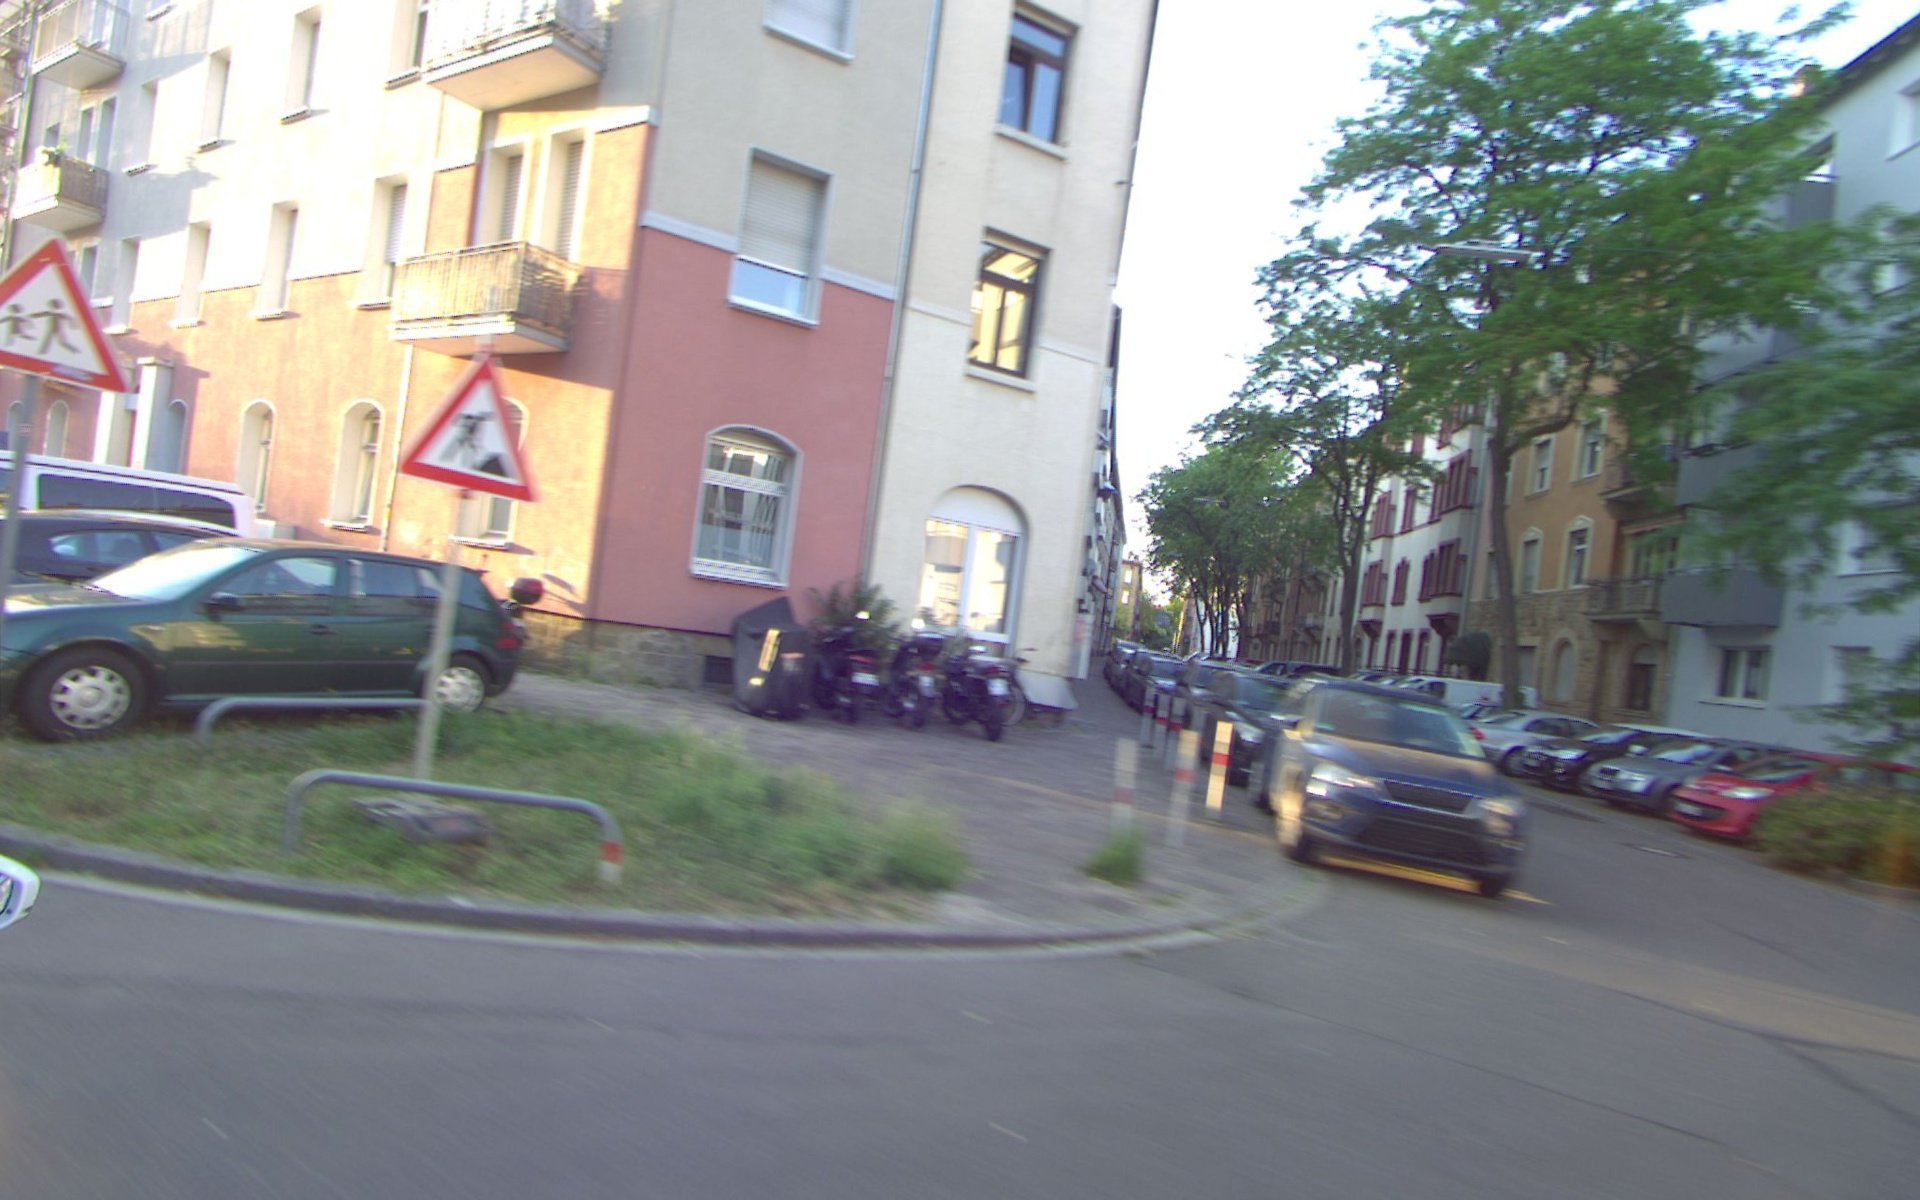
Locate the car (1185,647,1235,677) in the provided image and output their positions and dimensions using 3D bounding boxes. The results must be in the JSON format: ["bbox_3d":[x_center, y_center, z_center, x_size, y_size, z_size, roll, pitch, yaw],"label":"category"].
[{"bbox_3d":[21.959,5.478,88.425,3.924,2.036,2.004,8,-2,9],"label":"car"}]

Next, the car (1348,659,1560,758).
[{"bbox_3d":[14.301,3.111,29.362,4.897,2.037,2.191,8,-1,2],"label":"car"}]

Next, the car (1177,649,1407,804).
[{"bbox_3d":[4.387,1.607,14.022,1.933,1.523,4.003,8,-1,4],"label":"car"}]

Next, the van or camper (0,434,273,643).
[{"bbox_3d":[-11.196,-0.815,11.609,2.007,2.121,4.842,7,-1,32],"label":"van or camper"}]

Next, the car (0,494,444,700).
[{"bbox_3d":[-7.368,0.008,9.393,1.966,1.548,3.995,7,-1,31],"label":"car"}]

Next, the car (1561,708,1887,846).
[{"bbox_3d":[13.091,2.991,17.480,3.924,1.548,2.001,8,-1,5],"label":"car"}]

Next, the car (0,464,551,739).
[{"bbox_3d":[-5.584,0.068,7.798,1.823,1.604,4.111,7,-1,29],"label":"car"}]

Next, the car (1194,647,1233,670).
[{"bbox_3d":[28.570,6.572,113.486,3.924,2.037,2.002,8,-1,9],"label":"car"}]

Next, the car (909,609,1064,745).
[{"bbox_3d":[0.273,0.960,13.548,0.835,1.474,2.762,7,-1,-24],"label":"car"}]

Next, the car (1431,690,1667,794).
[{"bbox_3d":[13.011,3.116,22.467,3.924,1.548,2.002,8,-1,6],"label":"car"}]

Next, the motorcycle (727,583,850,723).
[{"bbox_3d":[-2.172,0.589,12.399,0.828,1.451,2.340,8,-1,-23],"label":"motorcycle"}]

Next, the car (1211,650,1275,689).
[{"bbox_3d":[19.321,4.782,68.891,3.924,2.036,2.004,8,-2,14],"label":"car"}]

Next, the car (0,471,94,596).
[{"bbox_3d":[-15.545,-1.191,14.600,1.967,1.748,3.994,6,-2,31],"label":"car"}]

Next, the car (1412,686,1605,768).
[{"bbox_3d":[14.405,3.312,26.649,3.924,1.414,2.002,8,-1,10],"label":"car"}]

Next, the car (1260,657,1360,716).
[{"bbox_3d":[15.986,3.969,46.165,3.924,2.036,2.004,8,-2,14],"label":"car"}]

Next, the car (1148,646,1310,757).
[{"bbox_3d":[4.867,1.783,18.799,1.936,1.523,4.002,8,-1,3],"label":"car"}]

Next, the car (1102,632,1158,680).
[{"bbox_3d":[7.521,2.468,44.911,1.962,1.804,4.003,7,-1,5],"label":"car"}]

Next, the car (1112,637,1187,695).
[{"bbox_3d":[6.398,2.200,34.359,1.962,1.603,4.004,7,-1,5],"label":"car"}]

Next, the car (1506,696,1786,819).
[{"bbox_3d":[13.274,3.022,19.711,3.924,1.604,2.001,8,-1,5],"label":"car"}]

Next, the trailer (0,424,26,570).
[{"bbox_3d":[-17.262,-1.862,15.598,1.908,2.367,3.571,7,1,30],"label":"trailer"}]

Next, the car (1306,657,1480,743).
[{"bbox_3d":[14.763,3.382,34.551,4.884,2.166,2.001,8,-1,4],"label":"car"}]

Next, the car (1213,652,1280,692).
[{"bbox_3d":[18.774,4.742,66.000,3.924,2.036,2.004,8,-2,14],"label":"car"}]

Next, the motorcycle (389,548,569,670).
[{"bbox_3d":[-6.263,0.089,13.016,2.610,1.250,0.743,7,0,33],"label":"motorcycle"}]

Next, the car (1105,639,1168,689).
[{"bbox_3d":[6.906,2.480,39.680,1.962,1.603,4.004,7,-1,5],"label":"car"}]

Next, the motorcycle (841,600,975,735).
[{"bbox_3d":[-0.750,0.818,13.198,0.735,1.451,2.639,7,-1,-23],"label":"motorcycle"}]

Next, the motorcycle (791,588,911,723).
[{"bbox_3d":[-1.443,0.647,12.803,0.735,1.451,2.340,7,-1,-22],"label":"motorcycle"}]

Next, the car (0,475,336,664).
[{"bbox_3d":[-9.210,-0.347,10.509,1.966,1.637,3.994,7,-1,31],"label":"car"}]

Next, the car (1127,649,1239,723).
[{"bbox_3d":[5.356,2.039,24.720,2.055,1.370,4.004,7,-1,5],"label":"car"}]

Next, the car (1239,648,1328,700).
[{"bbox_3d":[16.338,3.751,50.949,3.924,2.036,2.004,8,-2,14],"label":"car"}]

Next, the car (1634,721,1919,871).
[{"bbox_3d":[12.696,2.910,14.877,3.924,1.534,2.001,8,-1,5],"label":"car"}]

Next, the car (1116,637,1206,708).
[{"bbox_3d":[5.746,2.042,29.182,1.962,1.670,4.003,7,-1,5],"label":"car"}]

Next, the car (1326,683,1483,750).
[{"bbox_3d":[14.117,3.677,32.142,4.028,1.414,2.001,8,-1,4],"label":"car"}]

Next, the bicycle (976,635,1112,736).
[{"bbox_3d":[1.289,1.312,15.264,1.885,1.297,0.680,8,-1,-32],"label":"bicycle"}]

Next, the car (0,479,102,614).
[{"bbox_3d":[-13.742,-0.902,12.631,1.967,1.659,3.994,6,-2,31],"label":"car"}]

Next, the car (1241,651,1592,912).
[{"bbox_3d":[3.808,1.385,9.206,1.795,1.591,4.004,8,-1,10],"label":"car"}]
